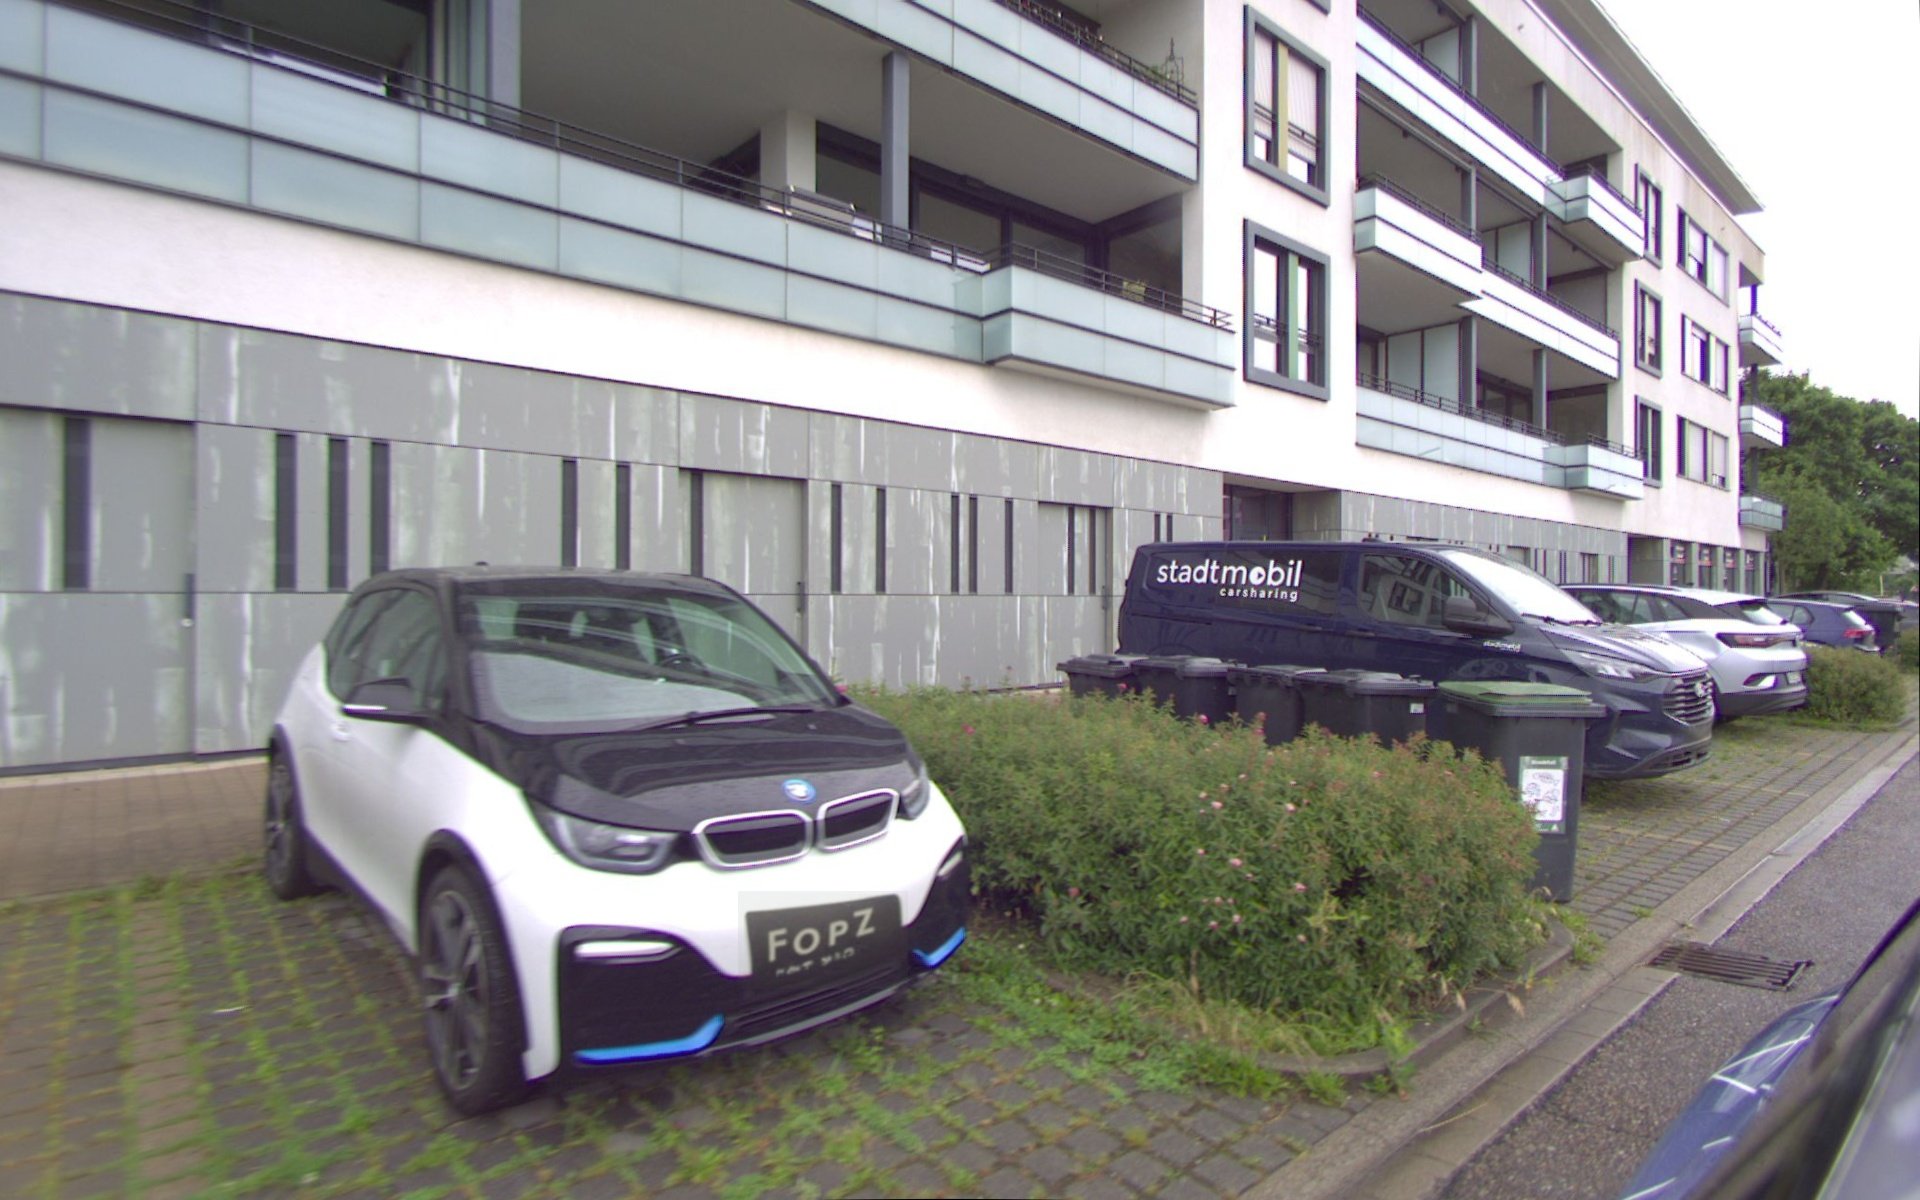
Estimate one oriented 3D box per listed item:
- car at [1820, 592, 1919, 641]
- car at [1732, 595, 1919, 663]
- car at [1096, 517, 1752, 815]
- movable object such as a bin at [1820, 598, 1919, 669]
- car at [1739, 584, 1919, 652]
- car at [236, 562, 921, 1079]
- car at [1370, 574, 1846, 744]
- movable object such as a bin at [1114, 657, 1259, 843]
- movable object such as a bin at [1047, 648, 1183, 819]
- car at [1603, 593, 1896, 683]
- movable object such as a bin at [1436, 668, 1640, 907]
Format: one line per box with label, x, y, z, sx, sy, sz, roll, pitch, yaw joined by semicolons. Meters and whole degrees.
car;29.704;0.507;31.723;1.755;1.506;3.993;0;0;-41
car;20.878;0.633;23.857;1.755;1.506;3.993;0;0;-41
car;3.795;0.347;9.194;1.947;1.953;5.060;0;2;-41
movable object such as a bin;18.219;0.658;20.285;0.960;1.355;1.351;0;-2;-41
car;23.874;0.453;26.878;1.835;1.685;4.792;0;0;-41
car;-2.222;0.577;5.074;1.721;1.501;4.180;-1;2;-44
car;7.612;0.530;12.327;2.043;1.621;4.433;0;2;-36
movable object such as a bin;1.468;0.926;6.546;0.803;1.060;0.540;0;-1;-39
movable object such as a bin;1.077;0.889;7.017;0.803;1.060;0.540;0;-1;-39
car;14.669;0.637;18.982;1.681;1.496;4.096;0;0;-41
movable object such as a bin;2.906;0.905;5.157;0.530;1.060;0.818;0;0;-3
